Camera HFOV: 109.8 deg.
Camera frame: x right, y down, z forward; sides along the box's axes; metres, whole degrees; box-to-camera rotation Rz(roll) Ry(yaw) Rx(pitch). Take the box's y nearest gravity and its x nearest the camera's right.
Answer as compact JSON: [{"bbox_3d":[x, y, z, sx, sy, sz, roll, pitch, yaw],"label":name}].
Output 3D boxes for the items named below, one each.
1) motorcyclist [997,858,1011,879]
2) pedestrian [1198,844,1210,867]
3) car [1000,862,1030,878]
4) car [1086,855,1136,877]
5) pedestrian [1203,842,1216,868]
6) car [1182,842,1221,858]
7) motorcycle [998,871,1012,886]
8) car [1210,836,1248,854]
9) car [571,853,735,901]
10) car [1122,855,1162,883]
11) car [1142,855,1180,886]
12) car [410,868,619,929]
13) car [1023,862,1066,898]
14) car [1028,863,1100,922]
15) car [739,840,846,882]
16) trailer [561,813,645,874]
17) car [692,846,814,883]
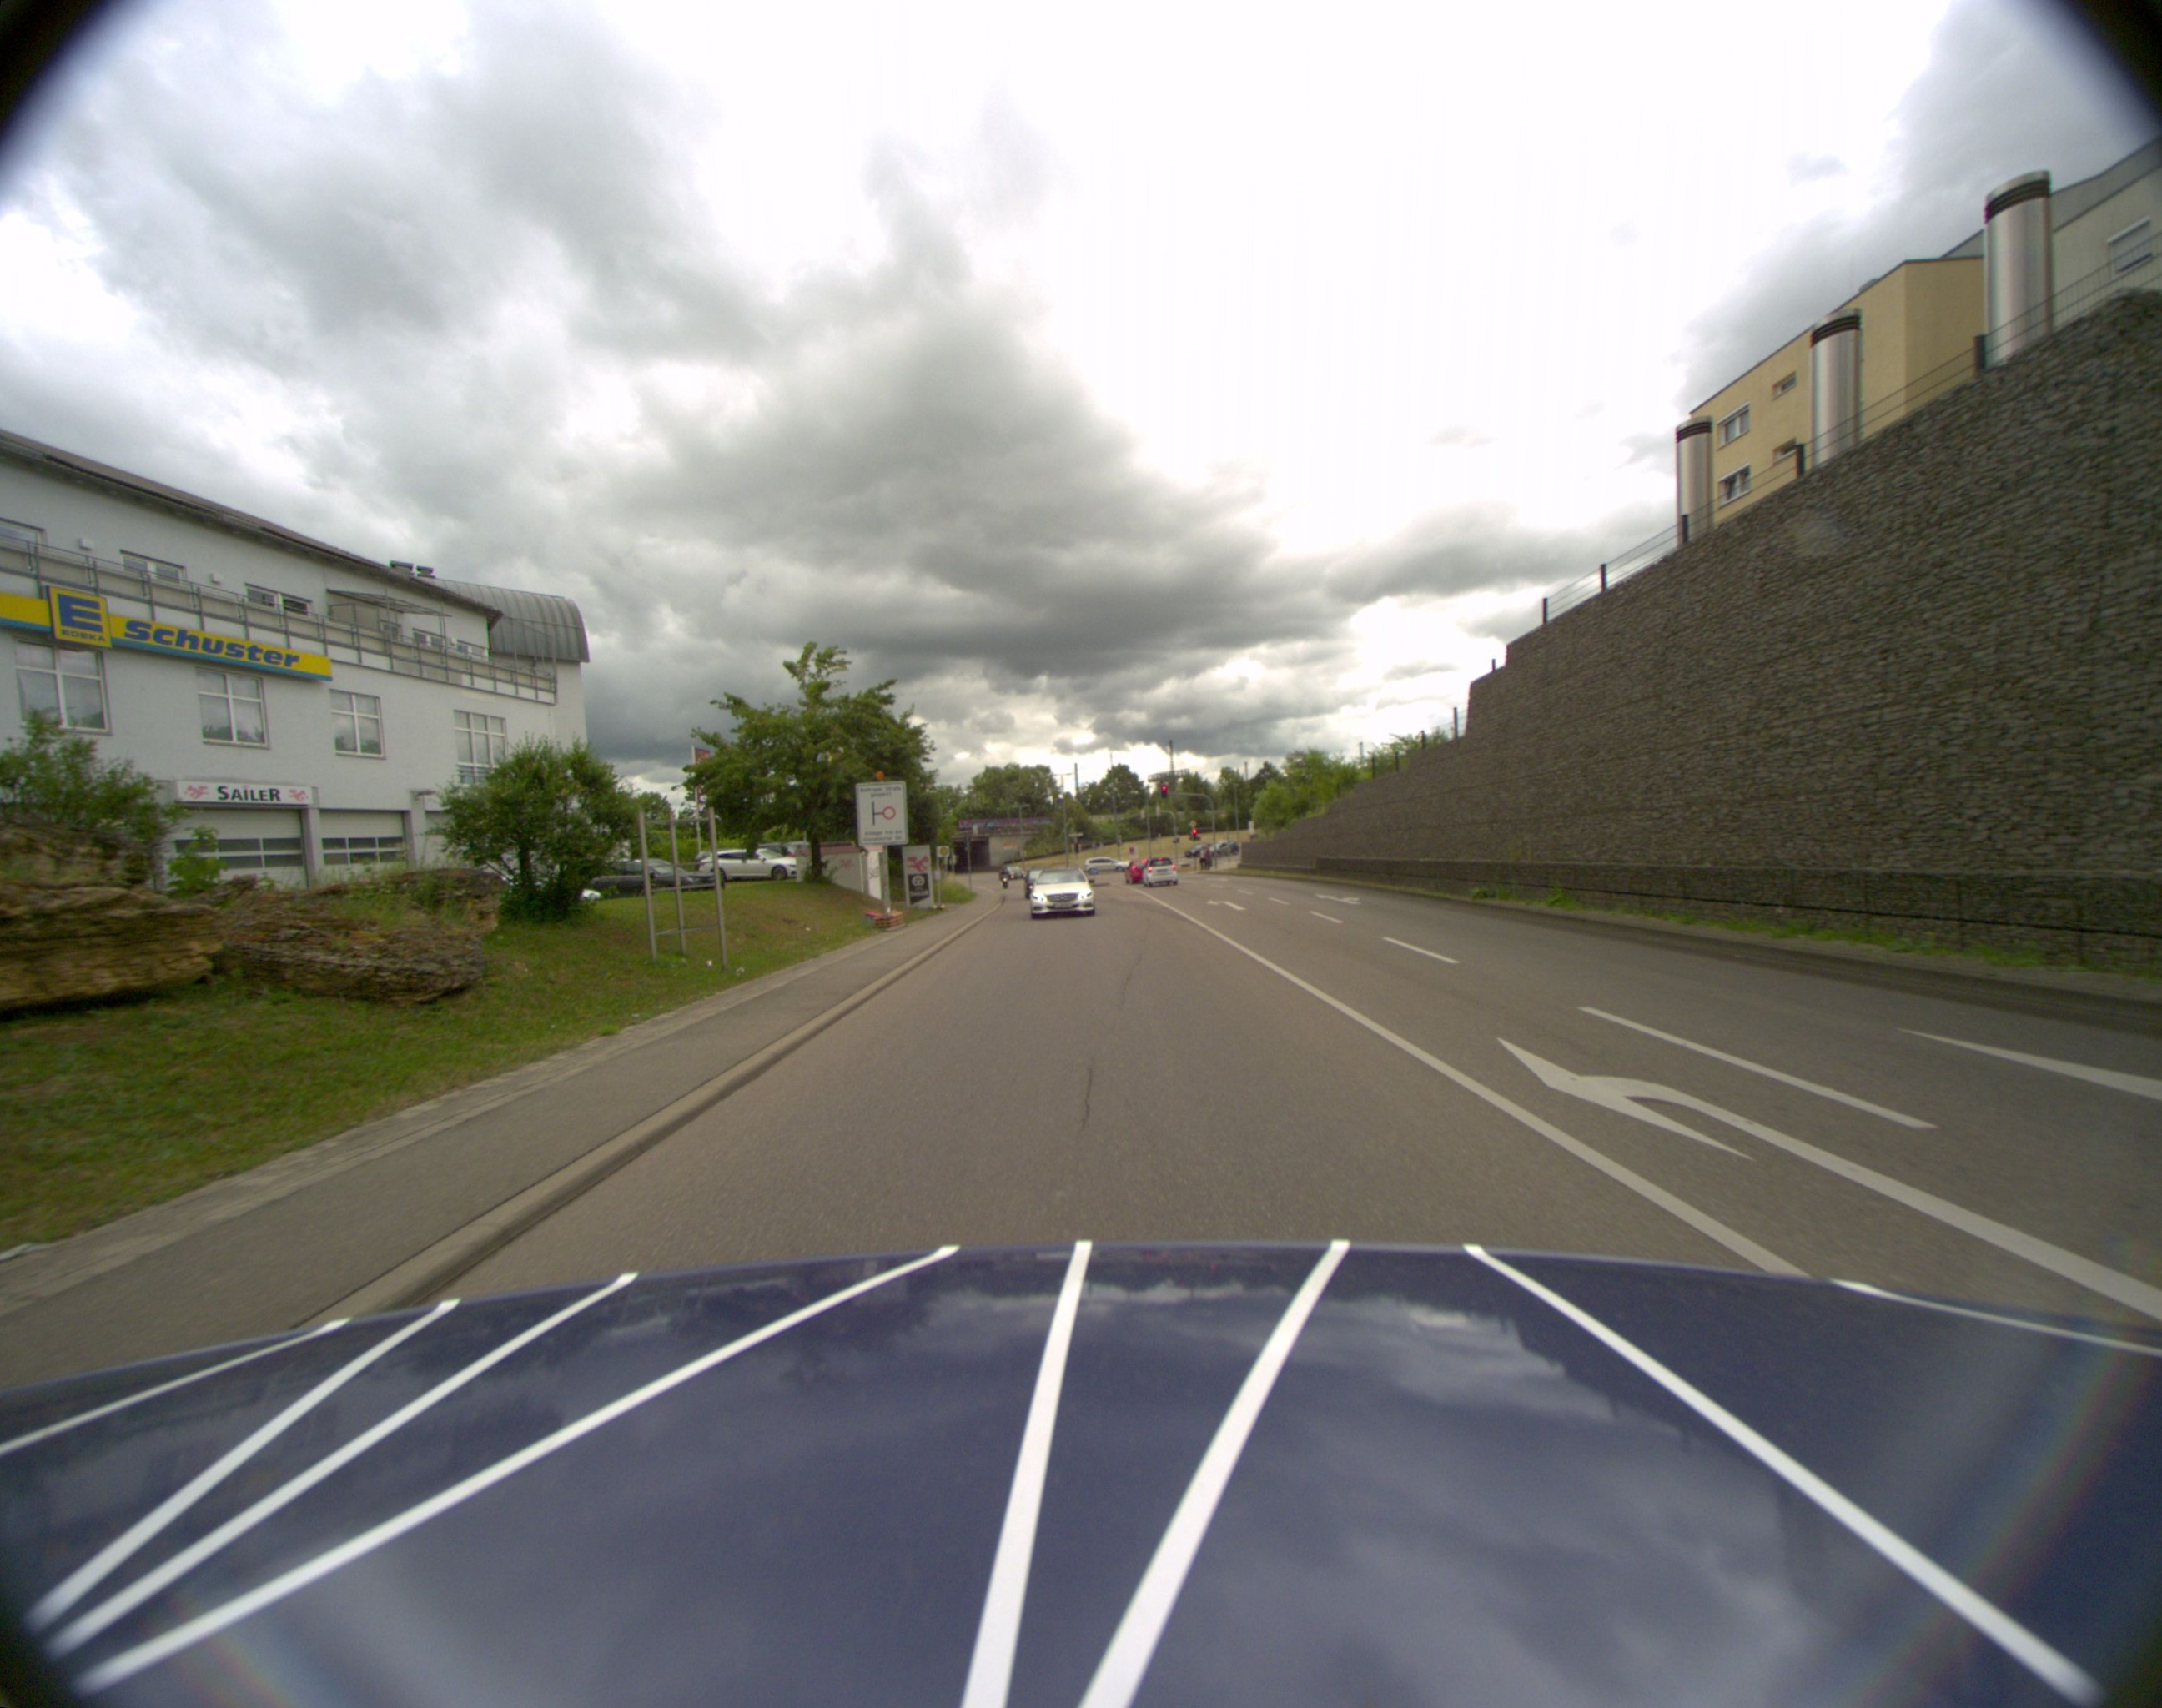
[{"bbox_3d":[-6.163,1.131,61.096,0.883,1.596,1.242,-6,2,-10],"label":"motorcyclist"},{"bbox_3d":[9.179,0.126,56.655,0.664,1.669,0.625,-5,2,23],"label":"pedestrian"},{"bbox_3d":[-7.314,1.745,83.454,1.762,1.525,4.246,-6,2,-26],"label":"car"},{"bbox_3d":[2.946,1.133,74.158,4.506,1.629,1.832,-5,2,10],"label":"car"},{"bbox_3d":[9.496,0.060,56.115,0.624,1.817,0.665,-6,2,-3],"label":"pedestrian"},{"bbox_3d":[14.769,-0.495,92.903,4.268,1.542,2.106,-6,2,-32],"label":"car"},{"bbox_3d":[-6.134,1.964,61.326,0.883,1.098,2.358,-6,1,-10],"label":"motorcycle"},{"bbox_3d":[17.471,-1.086,89.596,4.268,1.719,1.756,-7,2,-37],"label":"car"},{"bbox_3d":[-13.424,0.705,24.004,4.047,1.226,1.912,-3,2,2],"label":"car"},{"bbox_3d":[3.760,0.914,47.804,1.759,1.514,4.091,-6,1,-4],"label":"car"},{"bbox_3d":[4.328,0.871,41.527,1.547,1.514,2.913,-6,0,-2],"label":"car"},{"bbox_3d":[-14.323,1.106,19.387,3.881,1.226,1.870,-3,2,2],"label":"car"},{"bbox_3d":[-1.942,1.328,39.715,1.760,1.532,3.996,-6,2,-8],"label":"car"},{"bbox_3d":[-0.446,1.109,23.523,1.905,1.471,4.095,-5,0,1],"label":"car"},{"bbox_3d":[-14.408,0.344,38.059,4.506,1.629,1.832,-5,2,9],"label":"car"},{"bbox_3d":[-28.663,-0.575,45.445,6.476,3.038,2.474,-4,2,43],"label":"trailer"},{"bbox_3d":[-14.816,0.458,34.445,4.707,1.373,1.715,-3,2,2],"label":"car"}]
